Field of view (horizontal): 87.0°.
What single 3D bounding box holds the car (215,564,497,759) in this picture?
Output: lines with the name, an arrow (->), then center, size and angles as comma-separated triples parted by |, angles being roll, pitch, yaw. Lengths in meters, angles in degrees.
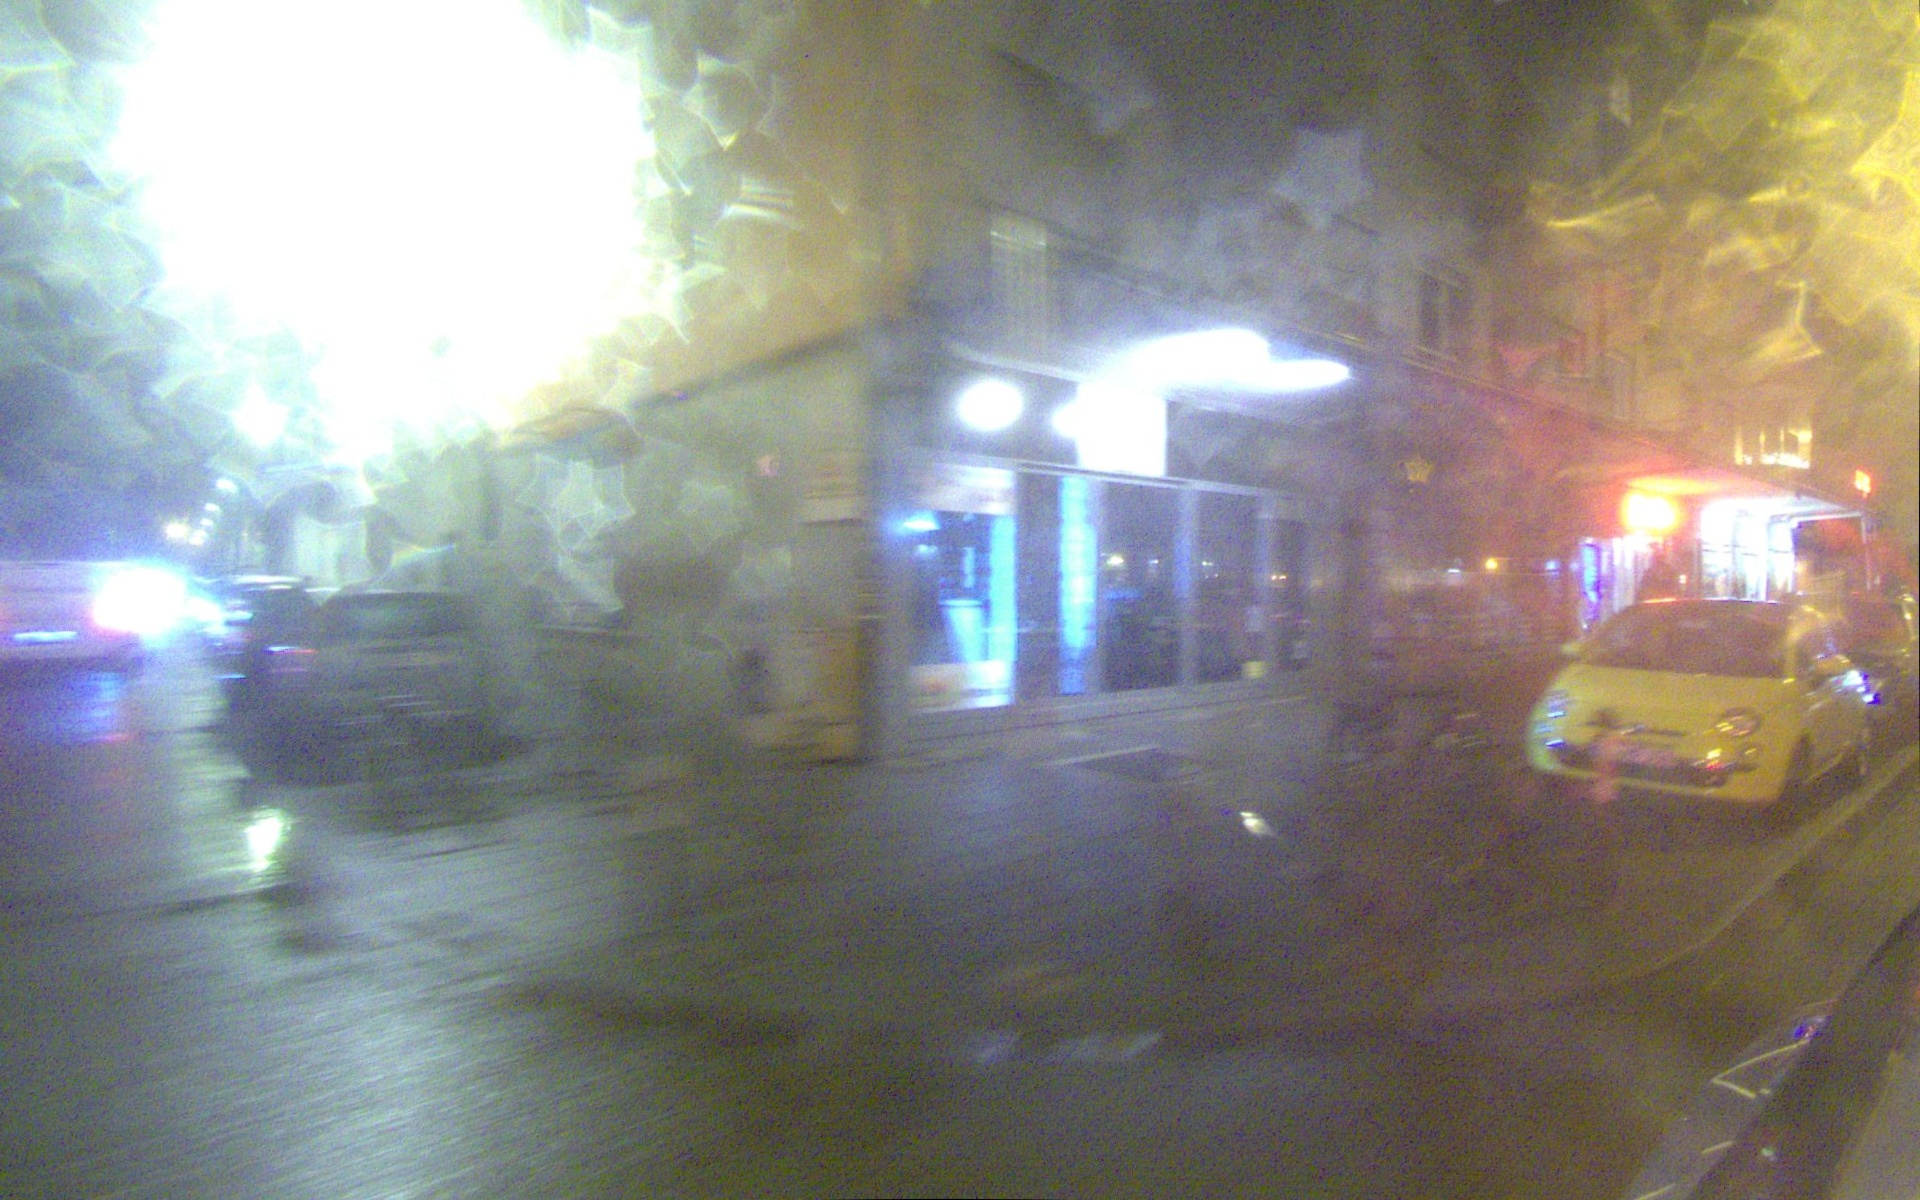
car -> -6.083, 0.481, 9.965 | 1.861, 1.504, 3.995 | -1, 0, -39

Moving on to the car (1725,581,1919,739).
car -> 10.515, 0.553, 11.797 | 4.089, 1.525, 1.689 | -1, 2, -40

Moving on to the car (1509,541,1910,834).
car -> 5.948, 0.471, 7.884 | 3.788, 1.743, 1.676 | -1, 2, -40

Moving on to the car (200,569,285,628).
car -> -21.437, -0.033, 30.190 | 1.810, 1.623, 4.154 | -1, 0, -39

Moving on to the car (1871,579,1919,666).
car -> 18.686, 0.383, 18.974 | 4.089, 1.525, 1.845 | -1, 2, -40

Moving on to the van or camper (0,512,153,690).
van or camper -> -14.370, 0.061, 16.212 | 2.080, 2.429, 5.329 | -1, -1, -37

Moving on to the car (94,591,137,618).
car -> -52.125, 0.305, 62.510 | 1.965, 1.556, 3.994 | -1, -1, -40

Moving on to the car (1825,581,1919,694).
car -> 14.575, 0.488, 15.146 | 4.089, 1.525, 1.845 | -1, 2, -40

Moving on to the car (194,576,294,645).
car -> -18.350, 0.251, 25.864 | 1.810, 1.623, 4.154 | -1, 0, -39

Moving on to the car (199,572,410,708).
car -> -8.875, 0.479, 13.547 | 1.964, 1.527, 3.995 | -1, -1, -39

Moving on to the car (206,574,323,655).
car -> -15.478, 0.293, 22.426 | 1.810, 1.623, 4.154 | -1, 0, -39

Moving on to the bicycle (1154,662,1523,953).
bicycle -> 1.698, 0.868, 5.059 | 0.605, 0.905, 2.278 | 0, 2, -11
